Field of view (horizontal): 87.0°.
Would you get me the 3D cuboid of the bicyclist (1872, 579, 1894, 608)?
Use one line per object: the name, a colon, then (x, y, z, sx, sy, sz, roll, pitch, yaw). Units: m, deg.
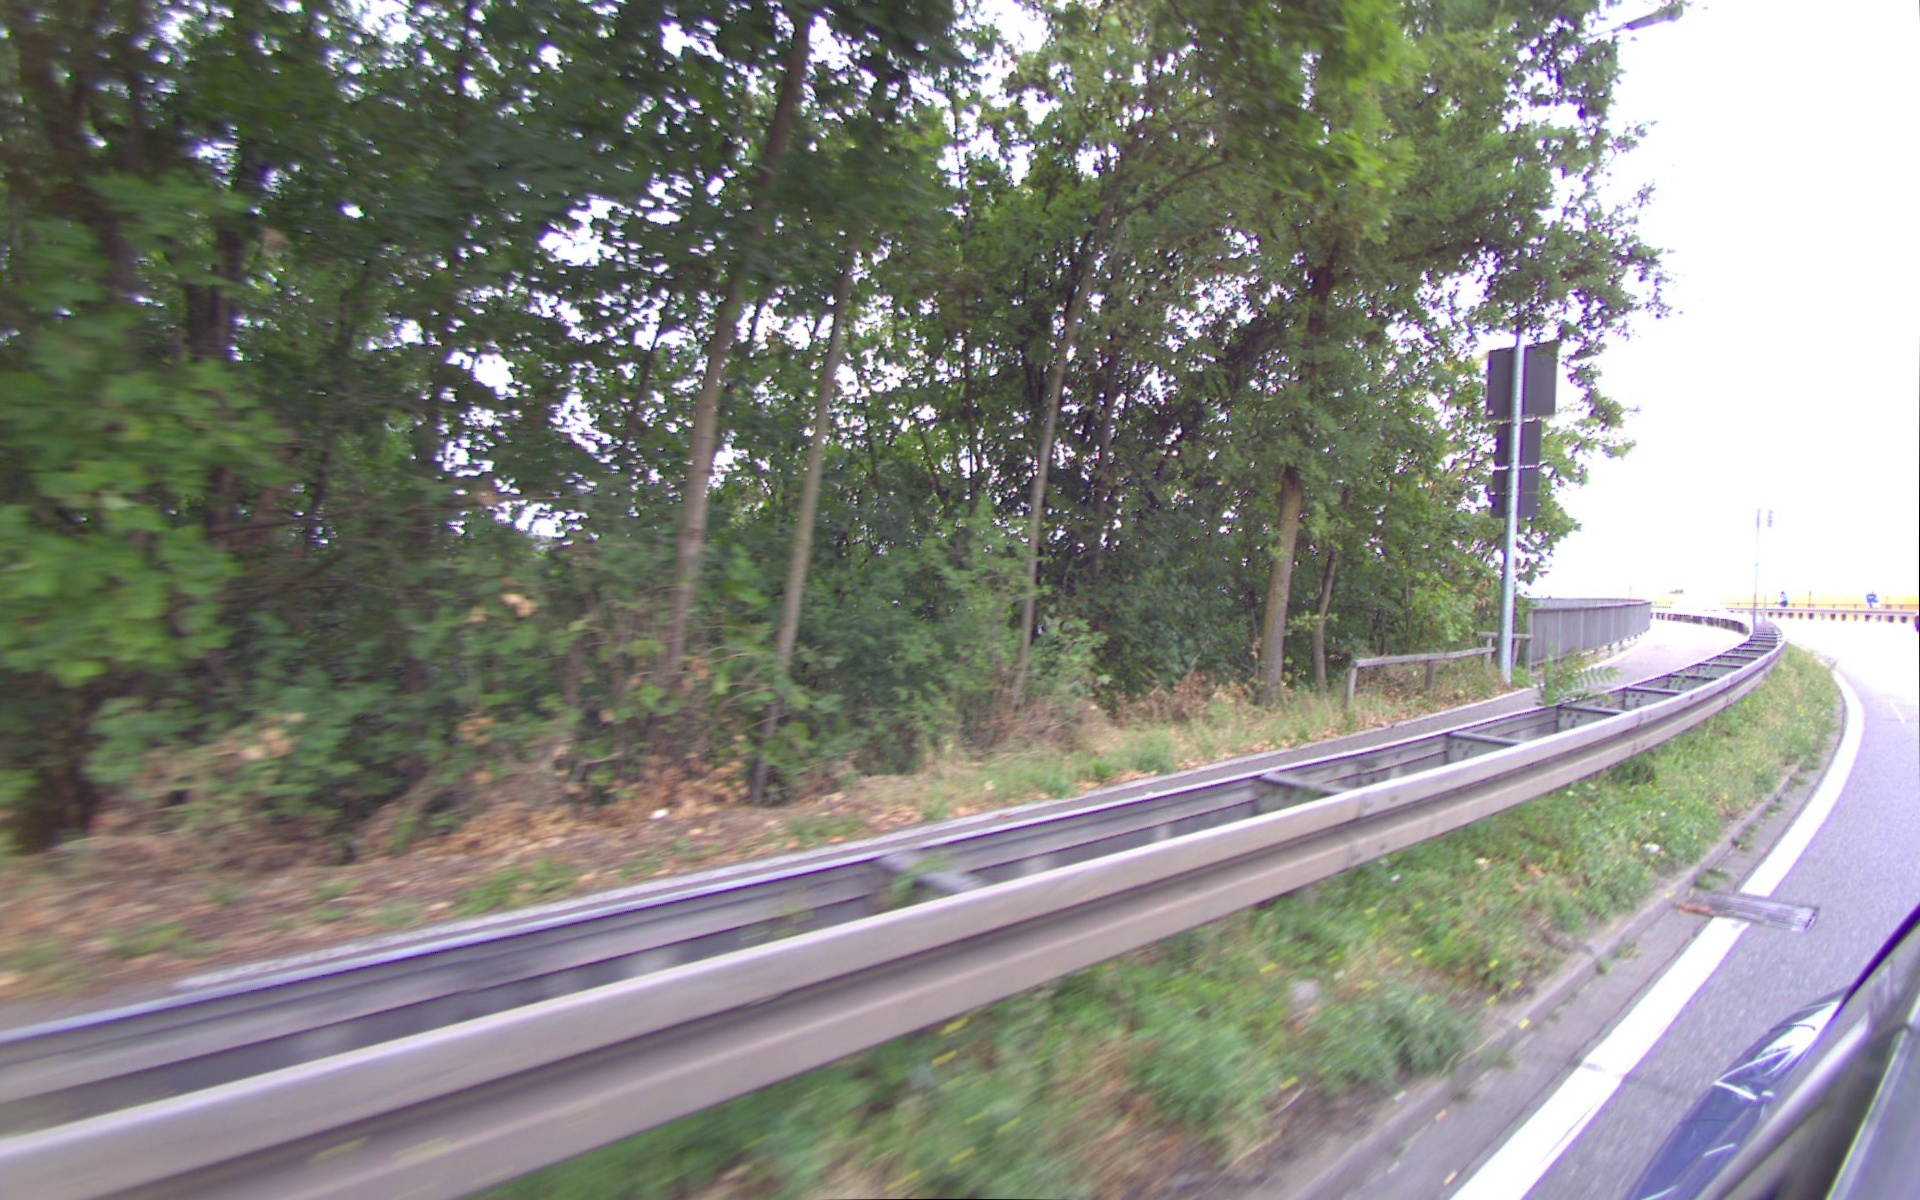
bicyclist: (50.506, -0.353, 55.390, 0.603, 1.559, 0.754, 0, 0, 13)

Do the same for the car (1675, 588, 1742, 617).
car: (43.428, 0.109, 58.808, 1.914, 1.474, 3.863, 4, 3, 19)

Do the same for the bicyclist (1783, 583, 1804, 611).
bicyclist: (55.745, -0.199, 67.683, 0.839, 1.831, 0.793, 0, 0, 16)

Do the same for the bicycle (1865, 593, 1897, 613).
bicycle: (50.462, 0.143, 55.460, 0.487, 1.058, 1.802, 0, 1, 14)

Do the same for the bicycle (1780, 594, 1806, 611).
bicycle: (55.709, 0.171, 67.680, 0.638, 1.081, 1.753, 2, 1, 16)
